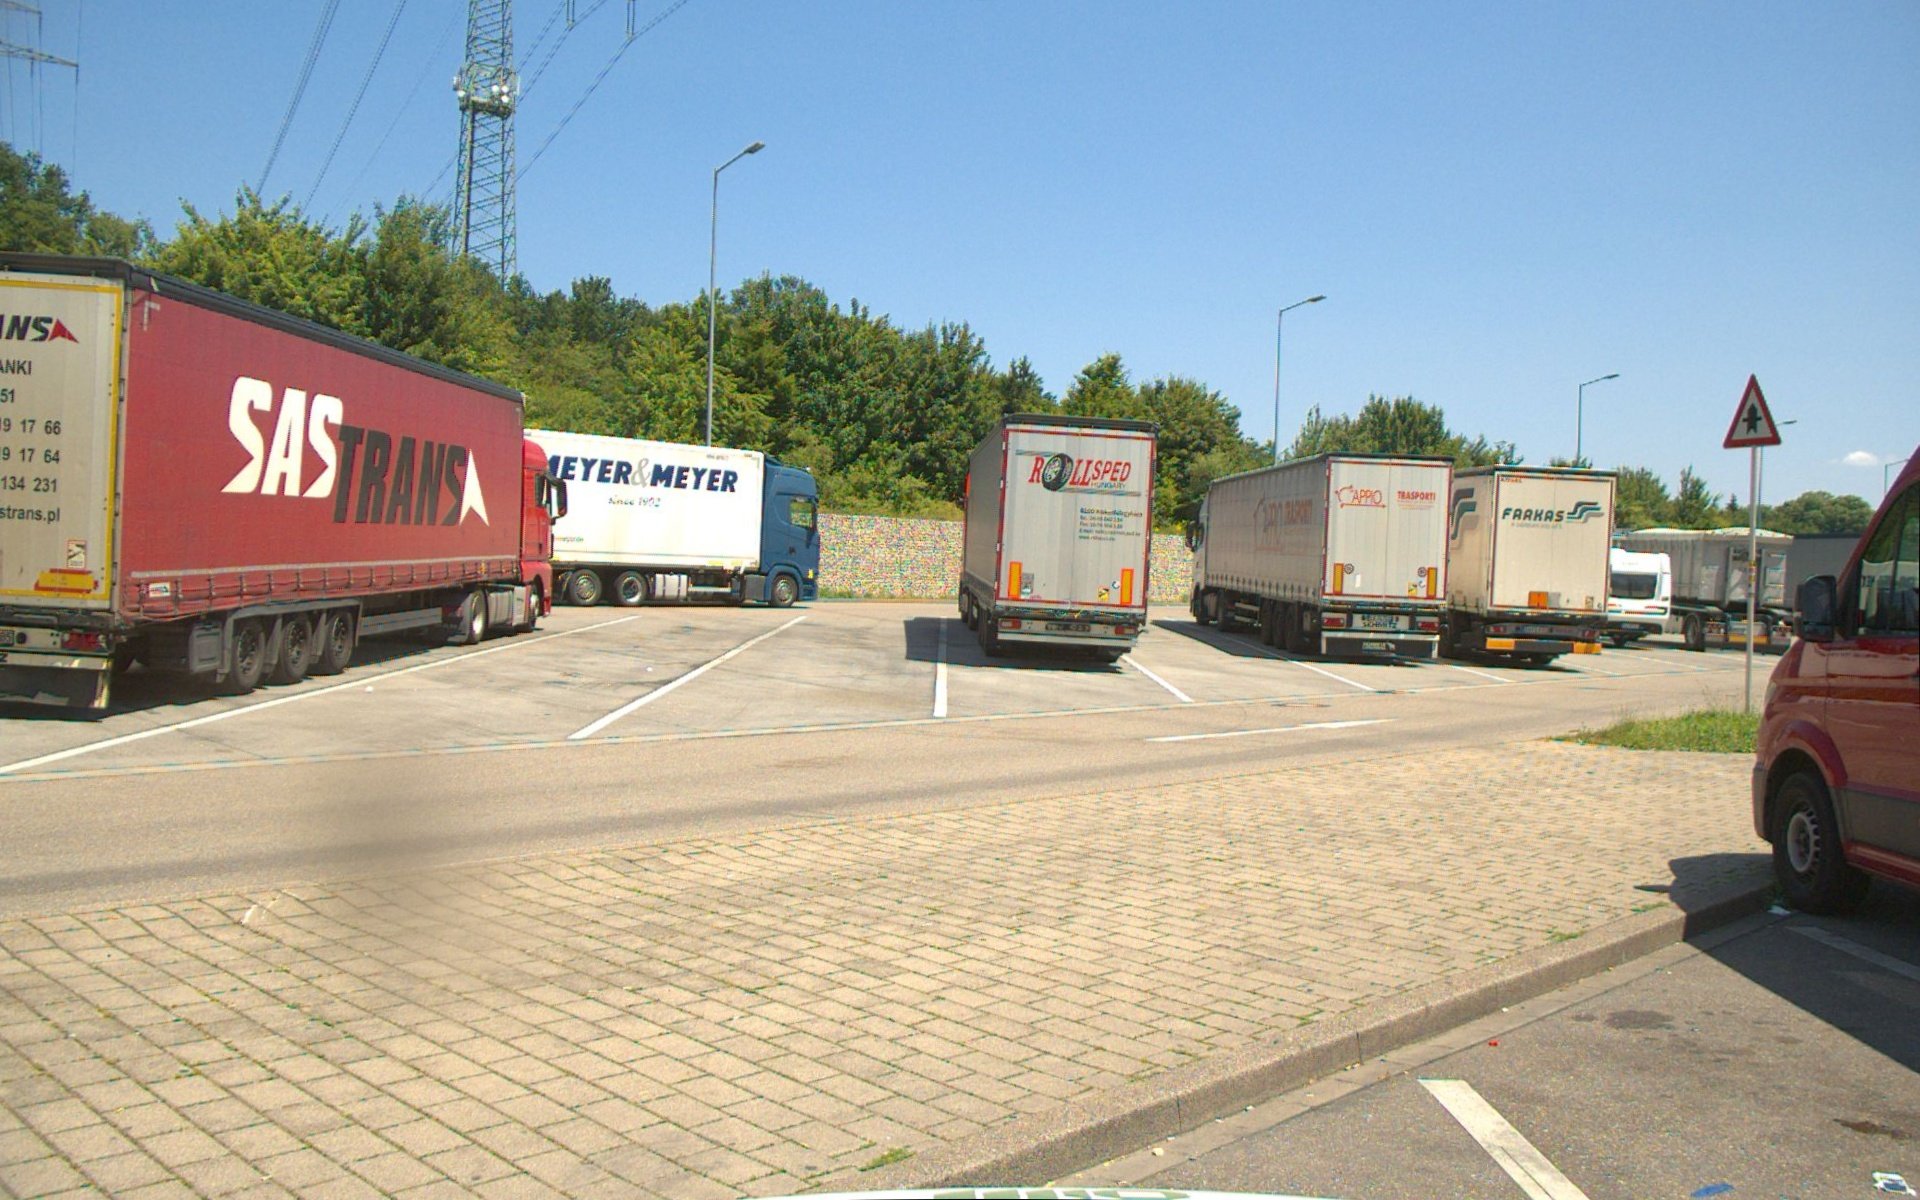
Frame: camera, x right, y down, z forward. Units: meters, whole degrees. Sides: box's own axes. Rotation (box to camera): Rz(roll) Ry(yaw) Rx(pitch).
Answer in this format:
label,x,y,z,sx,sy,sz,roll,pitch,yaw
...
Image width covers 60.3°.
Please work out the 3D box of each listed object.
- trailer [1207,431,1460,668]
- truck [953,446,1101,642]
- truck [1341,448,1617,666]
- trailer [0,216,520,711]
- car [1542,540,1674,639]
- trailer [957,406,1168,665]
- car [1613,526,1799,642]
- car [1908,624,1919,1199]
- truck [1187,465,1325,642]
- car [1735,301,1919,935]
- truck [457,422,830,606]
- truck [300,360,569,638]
label,x,y,z,sx,sy,sz,roll,pitch,yaw
trailer,8.170,-1.096,38.364,2.627,4.530,12.826,1,1,-1
truck,1.397,-1.237,37.776,2.814,4.050,6.027,1,1,-3
truck,11.712,-0.831,38.909,2.534,4.299,11.967,1,0,-1
trailer,-8.644,-1.318,20.986,2.743,4.293,13.200,1,1,-1
car,18.232,-0.264,46.735,2.072,2.645,3.999,1,0,-1
trailer,1.630,-1.126,32.059,2.839,4.083,11.312,1,1,-3
car,21.698,-0.491,48.493,2.448,3.128,6.350,1,1,-1
car,2.626,0.793,1.038,1.742,1.483,3.682,1,0,-5
truck,8.018,-1.249,45.453,2.607,4.530,5.863,1,1,-1
car,4.964,0.108,5.568,1.952,2.679,6.385,1,1,3
truck,-7.791,-1.987,42.412,2.203,4.104,9.989,2,0,43
truck,-8.729,-1.589,28.240,2.749,4.205,5.893,1,1,-1
